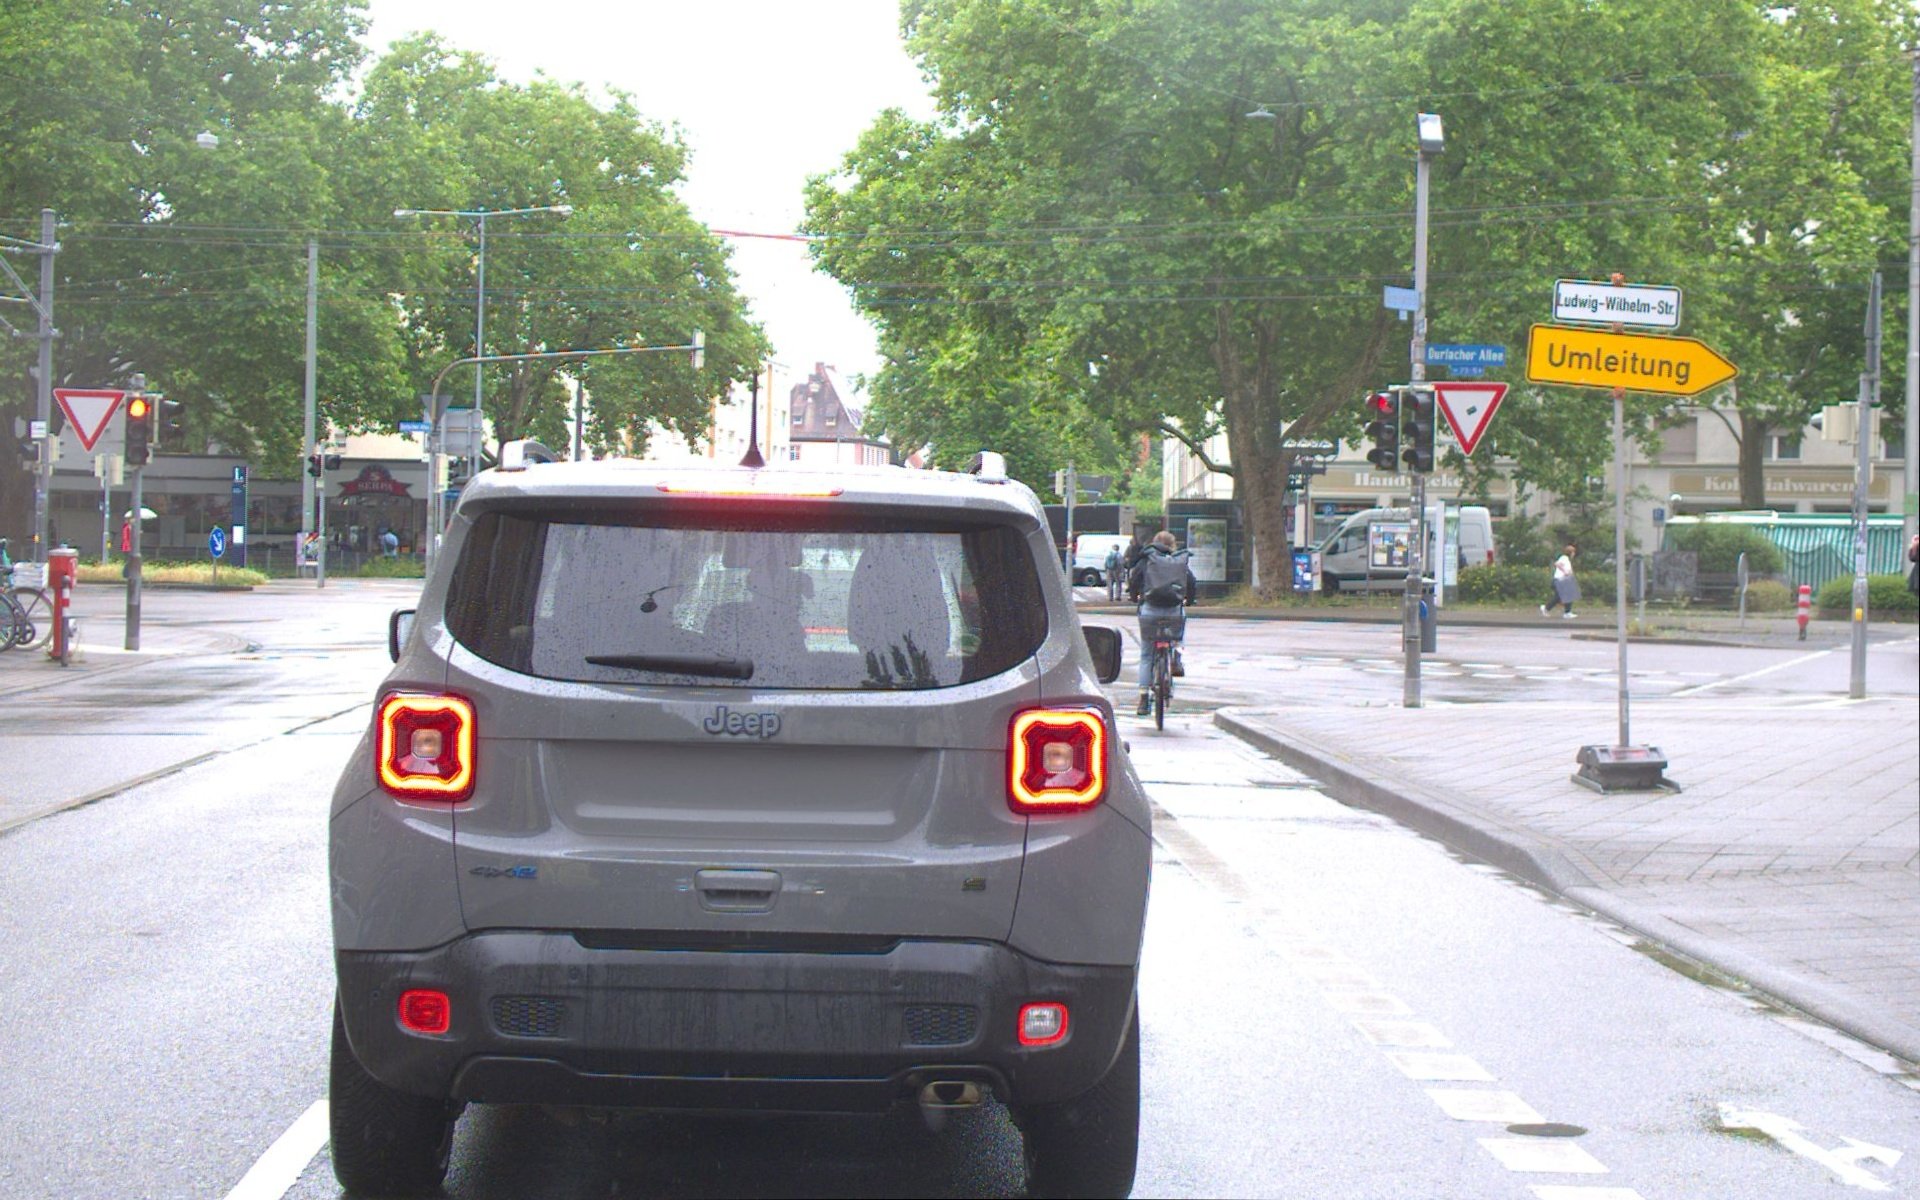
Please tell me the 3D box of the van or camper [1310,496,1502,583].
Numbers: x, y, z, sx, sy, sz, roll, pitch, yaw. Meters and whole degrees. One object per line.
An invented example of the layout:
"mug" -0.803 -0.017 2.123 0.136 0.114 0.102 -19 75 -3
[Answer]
"van or camper" 12.723 -1.742 98.328 5.260 2.307 2.090 2 2 4

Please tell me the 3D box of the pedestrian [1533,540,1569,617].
"pedestrian" 12.387 -0.451 72.070 0.613 1.598 0.493 1 1 24

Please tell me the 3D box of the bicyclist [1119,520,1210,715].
"bicyclist" 1.715 0.135 28.921 0.687 1.612 0.884 0 1 -1

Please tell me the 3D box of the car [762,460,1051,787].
"car" -0.358 0.104 23.425 1.770 2.007 4.000 1 1 -1

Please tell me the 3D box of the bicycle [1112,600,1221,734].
"bicycle" 1.717 0.538 28.951 0.691 1.018 2.658 0 1 -1

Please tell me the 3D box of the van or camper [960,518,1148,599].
"van or camper" 3.504 -1.577 128.119 6.536 2.902 2.491 1 1 26

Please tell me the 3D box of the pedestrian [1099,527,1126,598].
"pedestrian" 4.307 -1.058 97.063 0.651 2.007 0.482 1 1 12

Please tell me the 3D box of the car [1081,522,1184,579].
"car" 6.175 -1.767 123.033 3.438 2.007 1.547 0 0 13

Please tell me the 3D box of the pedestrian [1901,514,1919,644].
"pedestrian" 13.182 -0.286 46.604 0.786 1.753 0.945 1 1 15

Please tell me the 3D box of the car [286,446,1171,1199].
"car" -0.509 0.490 8.847 1.775 1.681 3.848 0 1 -1

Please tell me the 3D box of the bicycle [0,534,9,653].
"bicycle" -11.171 -0.081 36.851 1.810 1.262 0.498 1 1 -2

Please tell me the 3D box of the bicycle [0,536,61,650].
"bicycle" -11.102 -0.091 38.758 1.763 1.262 0.608 1 1 -2

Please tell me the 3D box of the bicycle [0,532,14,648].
"bicycle" -11.394 -0.122 37.881 1.763 1.262 0.608 1 1 -2

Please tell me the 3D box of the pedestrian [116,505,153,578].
"pedestrian" -20.771 -1.472 86.539 0.692 1.820 0.620 1 1 16

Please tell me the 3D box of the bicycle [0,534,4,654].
"bicycle" -11.034 -0.074 36.167 1.810 1.262 0.498 1 1 -2

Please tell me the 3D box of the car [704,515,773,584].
"car" -5.729 -1.313 88.736 1.721 1.733 3.730 1 1 -4
